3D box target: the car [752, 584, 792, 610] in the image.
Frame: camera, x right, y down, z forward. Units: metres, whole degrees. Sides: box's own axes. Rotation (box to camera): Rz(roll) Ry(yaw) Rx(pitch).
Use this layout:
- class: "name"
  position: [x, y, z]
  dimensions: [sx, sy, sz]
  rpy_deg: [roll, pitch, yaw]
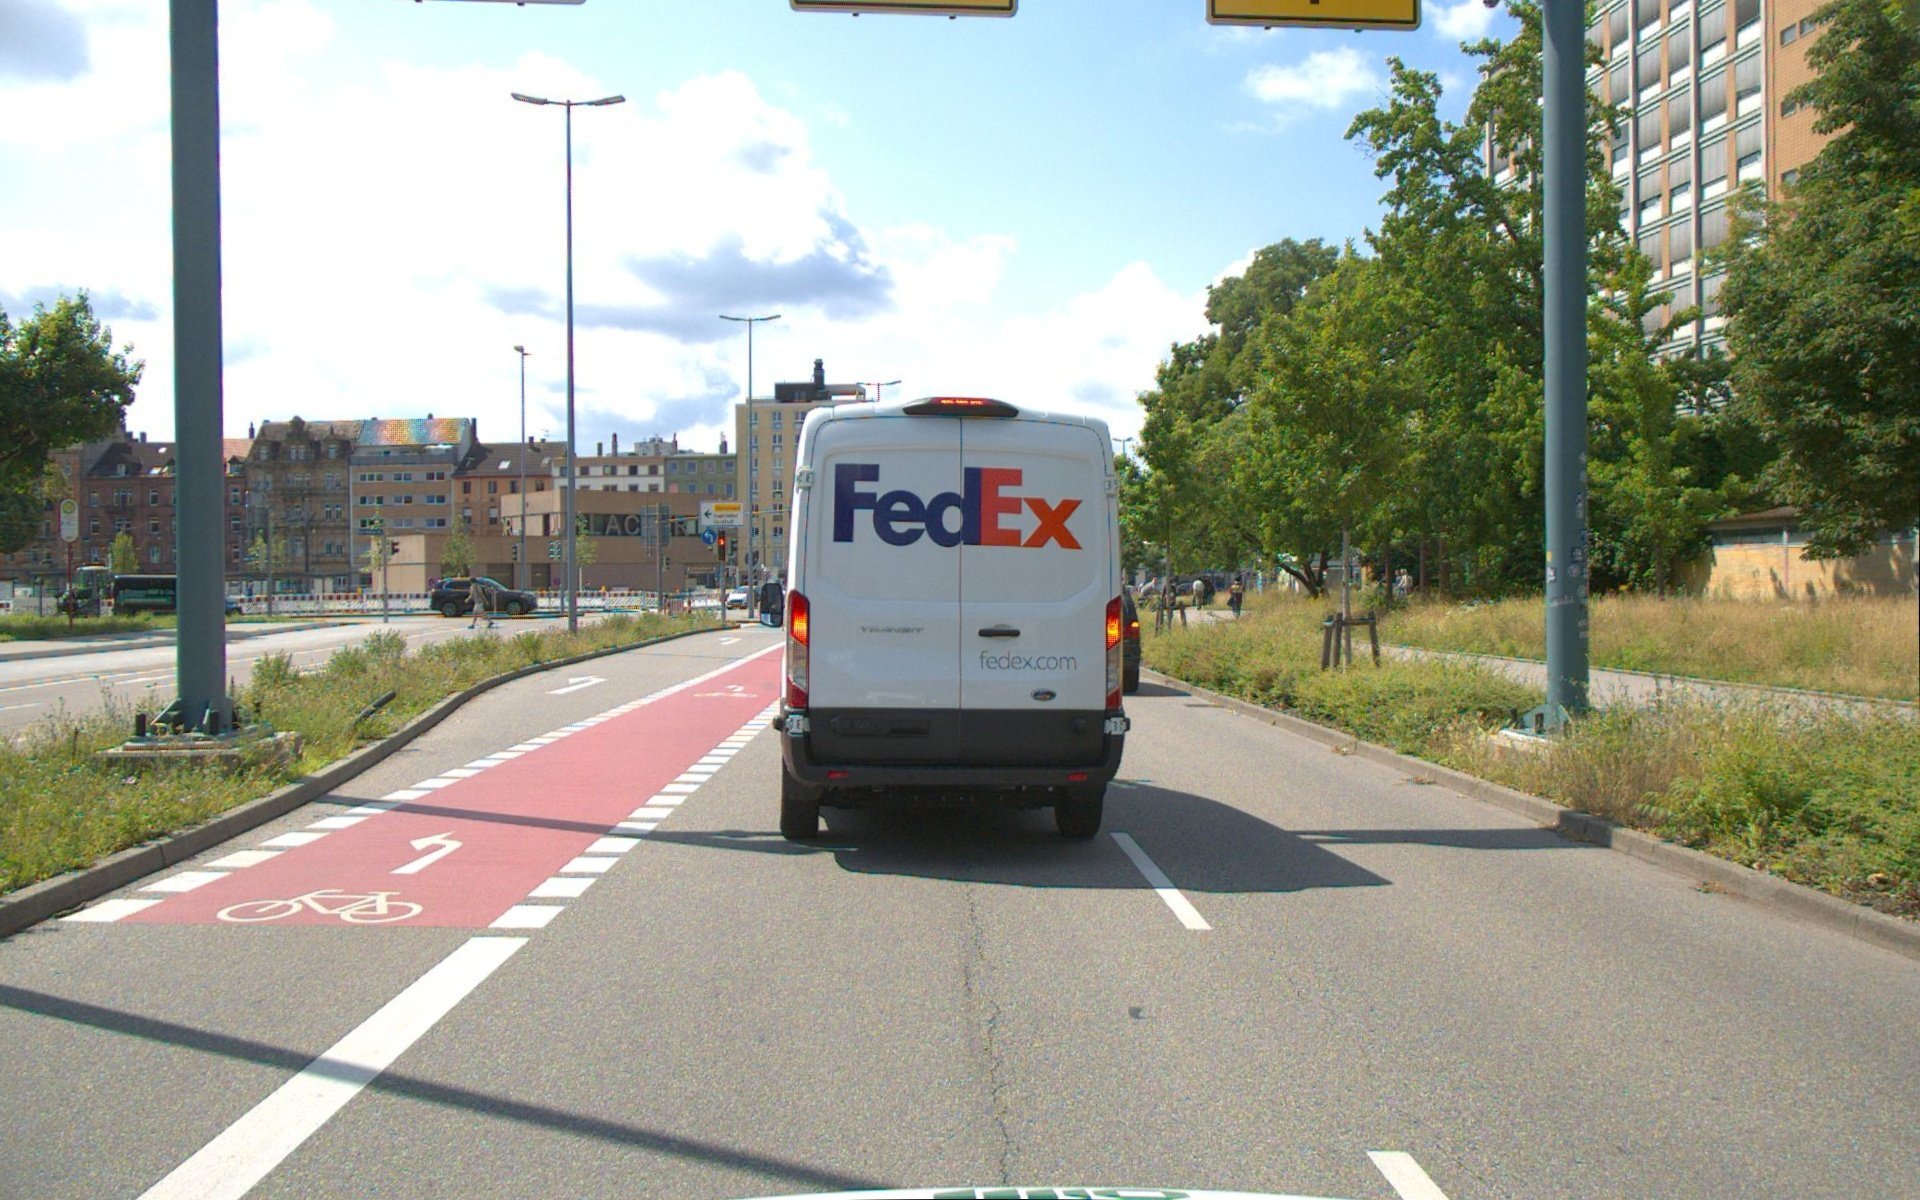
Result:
- class: "car"
  position: [-12.477, -0.206, 109.926]
  dimensions: [1.839, 1.680, 4.003]
  rpy_deg: [-1, 0, 6]

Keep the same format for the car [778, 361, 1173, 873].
- class: "car"
  position: [-0.212, 0.043, 11.677]
  dimensions: [2.099, 2.699, 5.696]
  rpy_deg: [-1, 1, -6]

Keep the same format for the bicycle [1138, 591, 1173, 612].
- class: "bicycle"
  position: [9.064, 0.077, 76.516]
  dimensions: [1.537, 0.972, 0.486]
  rpy_deg: [0, 1, 17]

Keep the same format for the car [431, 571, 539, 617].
- class: "car"
  position: [-22.070, -0.293, 77.047]
  dimensions: [4.540, 2.049, 2.096]
  rpy_deg: [-1, 0, -7]

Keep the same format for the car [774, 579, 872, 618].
- class: "car"
  position: [-6.632, -0.094, 80.026]
  dimensions: [4.298, 1.825, 1.986]
  rpy_deg: [-1, 0, -23]

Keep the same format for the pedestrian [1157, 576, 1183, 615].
- class: "pedestrian"
  position: [7.700, -0.181, 60.724]
  dimensions: [0.828, 1.413, 0.740]
  rpy_deg: [-1, 0, -3]

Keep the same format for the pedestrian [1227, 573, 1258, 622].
- class: "pedestrian"
  position: [9.137, -0.089, 53.518]
  dimensions: [0.828, 1.565, 0.834]
  rpy_deg: [-1, 0, -3]

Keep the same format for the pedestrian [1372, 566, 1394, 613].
- class: "pedestrian"
  position: [18.849, -0.465, 73.748]
  dimensions: [0.828, 2.094, 0.740]
  rpy_deg: [0, 1, 26]

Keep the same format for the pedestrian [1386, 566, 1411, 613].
- class: "pedestrian"
  position: [19.854, -0.478, 74.890]
  dimensions: [0.727, 2.094, 0.843]
  rpy_deg: [-1, 0, -19]

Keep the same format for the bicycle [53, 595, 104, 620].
- class: "bicycle"
  position: [-39.019, 0.335, 73.213]
  dimensions: [1.885, 1.048, 0.546]
  rpy_deg: [-1, 0, -10]

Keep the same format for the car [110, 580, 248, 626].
- class: "car"
  position: [-33.370, 0.107, 70.771]
  dimensions: [4.912, 1.911, 1.927]
  rpy_deg: [-1, 1, -6]

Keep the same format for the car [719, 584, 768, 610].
- class: "car"
  position: [-13.541, -0.192, 103.687]
  dimensions: [1.860, 1.613, 4.003]
  rpy_deg: [-1, 0, 12]

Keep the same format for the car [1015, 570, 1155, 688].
- class: "car"
  position: [1.950, 0.404, 27.052]
  dimensions: [1.776, 1.764, 4.386]
  rpy_deg: [0, 1, -3]

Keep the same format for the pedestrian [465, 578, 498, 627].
- class: "pedestrian"
  position: [-15.885, 0.071, 54.908]
  dimensions: [0.869, 1.587, 0.547]
  rpy_deg: [-1, 1, -43]

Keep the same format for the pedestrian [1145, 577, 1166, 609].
- class: "pedestrian"
  position: [9.026, -0.328, 76.518]
  dimensions: [0.880, 1.497, 0.486]
  rpy_deg: [0, 0, 17]

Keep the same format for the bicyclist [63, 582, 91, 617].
- class: "bicyclist"
  position: [-39.066, -0.022, 73.215]
  dimensions: [0.950, 1.500, 0.550]
  rpy_deg: [-1, 0, -10]

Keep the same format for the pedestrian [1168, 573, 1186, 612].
- class: "pedestrian"
  position: [10.807, -0.367, 82.465]
  dimensions: [0.667, 1.925, 0.573]
  rpy_deg: [0, 1, 42]

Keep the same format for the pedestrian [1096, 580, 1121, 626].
- class: "pedestrian"
  position: [6.233, 0.121, 69.447]
  dimensions: [0.931, 1.925, 0.773]
  rpy_deg: [0, 0, -3]

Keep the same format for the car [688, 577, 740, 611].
- class: "car"
  position: [-15.548, -0.385, 104.646]
  dimensions: [1.951, 2.049, 4.003]
  rpy_deg: [-1, 0, 12]
